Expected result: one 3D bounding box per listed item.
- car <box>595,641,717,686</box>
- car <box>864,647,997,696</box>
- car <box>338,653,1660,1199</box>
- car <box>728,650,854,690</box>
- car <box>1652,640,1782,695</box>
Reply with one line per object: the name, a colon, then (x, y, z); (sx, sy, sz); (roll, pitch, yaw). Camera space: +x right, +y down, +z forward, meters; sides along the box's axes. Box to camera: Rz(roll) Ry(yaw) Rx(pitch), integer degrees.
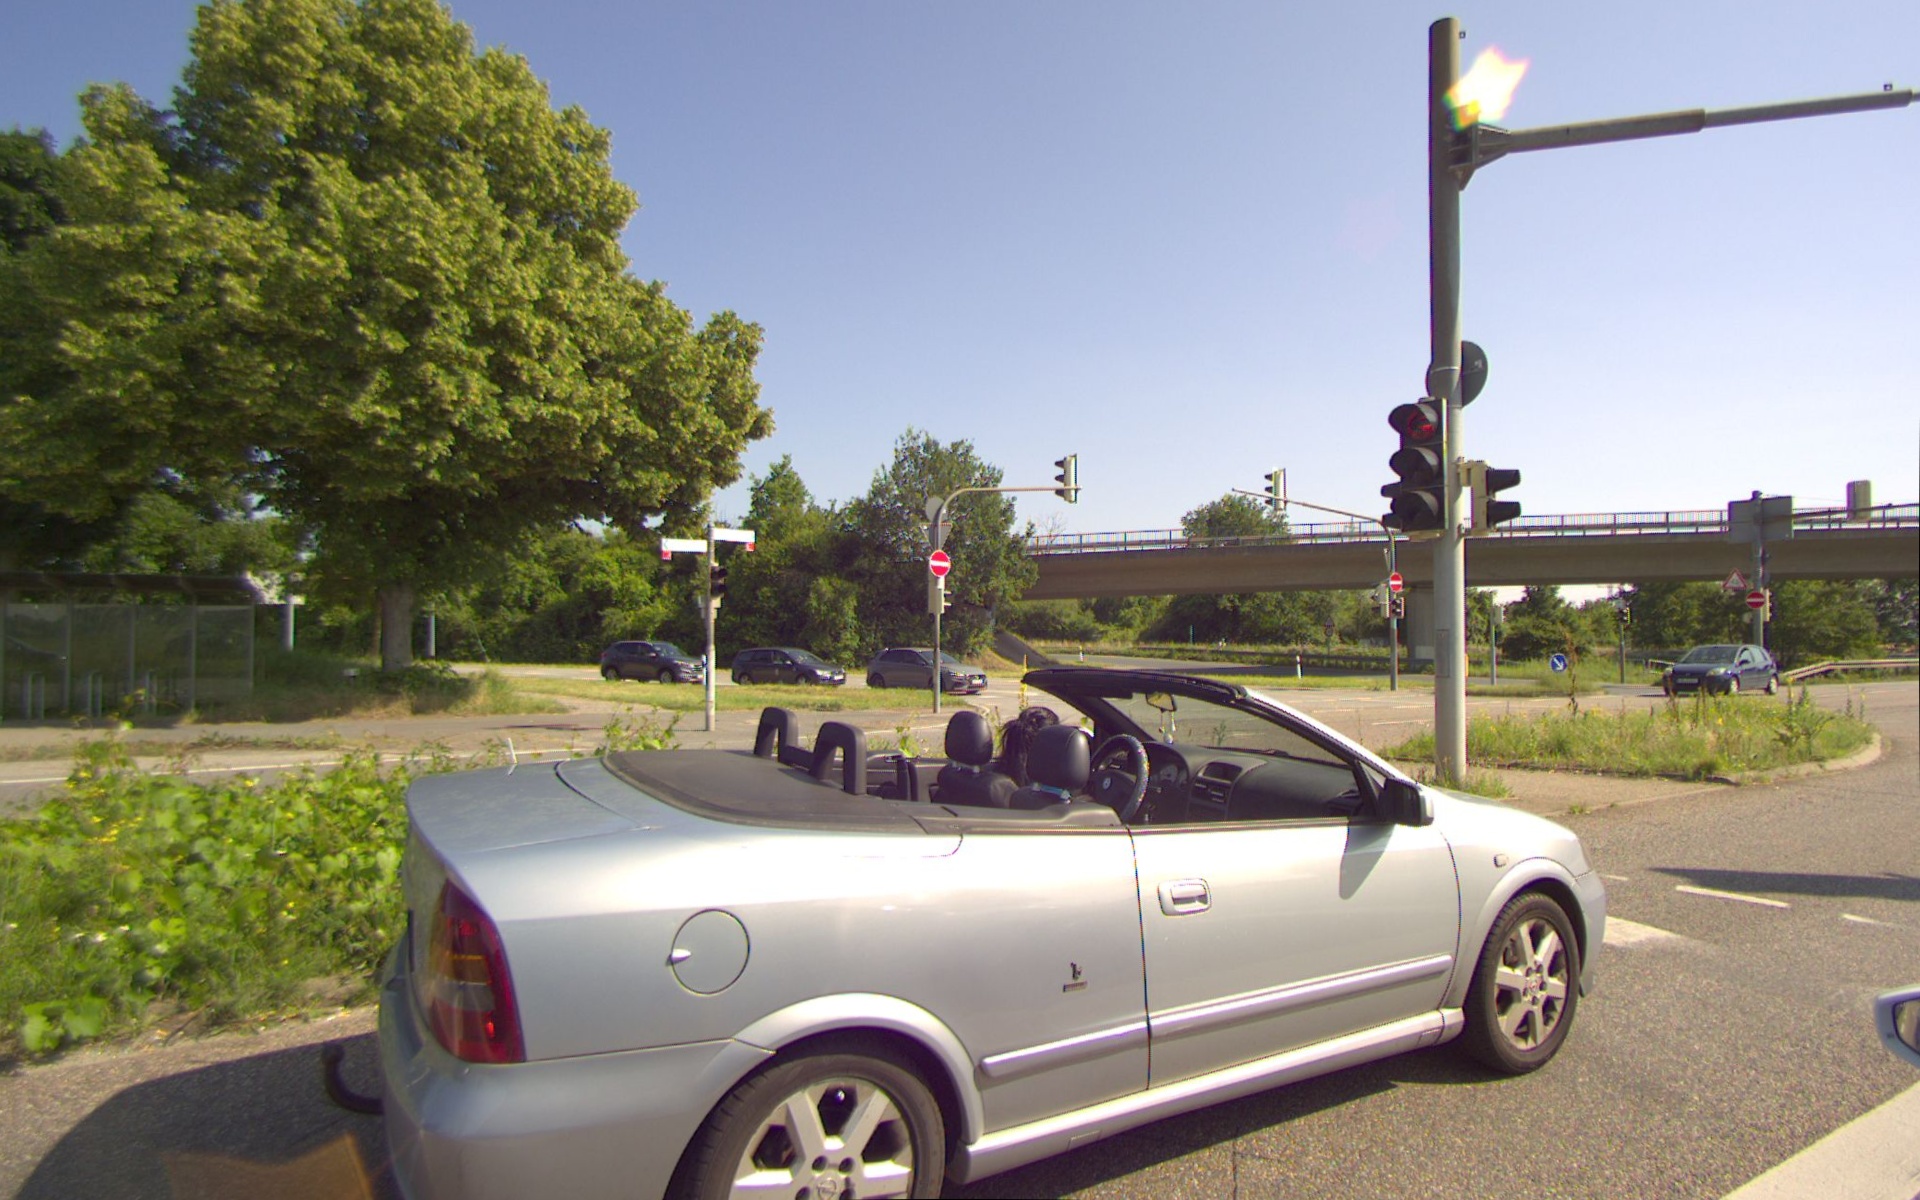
car: (-11.376, 2.339, 37.535); (4.270, 1.616, 1.651); (-1, -2, 22)
car: (-0.981, 2.231, 31.952); (4.066, 1.443, 1.862); (-2, -3, 41)
car: (0.362, 0.870, 3.338); (4.049, 1.352, 1.666); (1, -3, -30)
car: (-5.921, 2.412, 35.137); (4.276, 1.297, 1.648); (-1, -2, 30)
car: (21.493, 1.897, 28.496); (3.732, 1.460, 1.607); (1, -4, -30)
